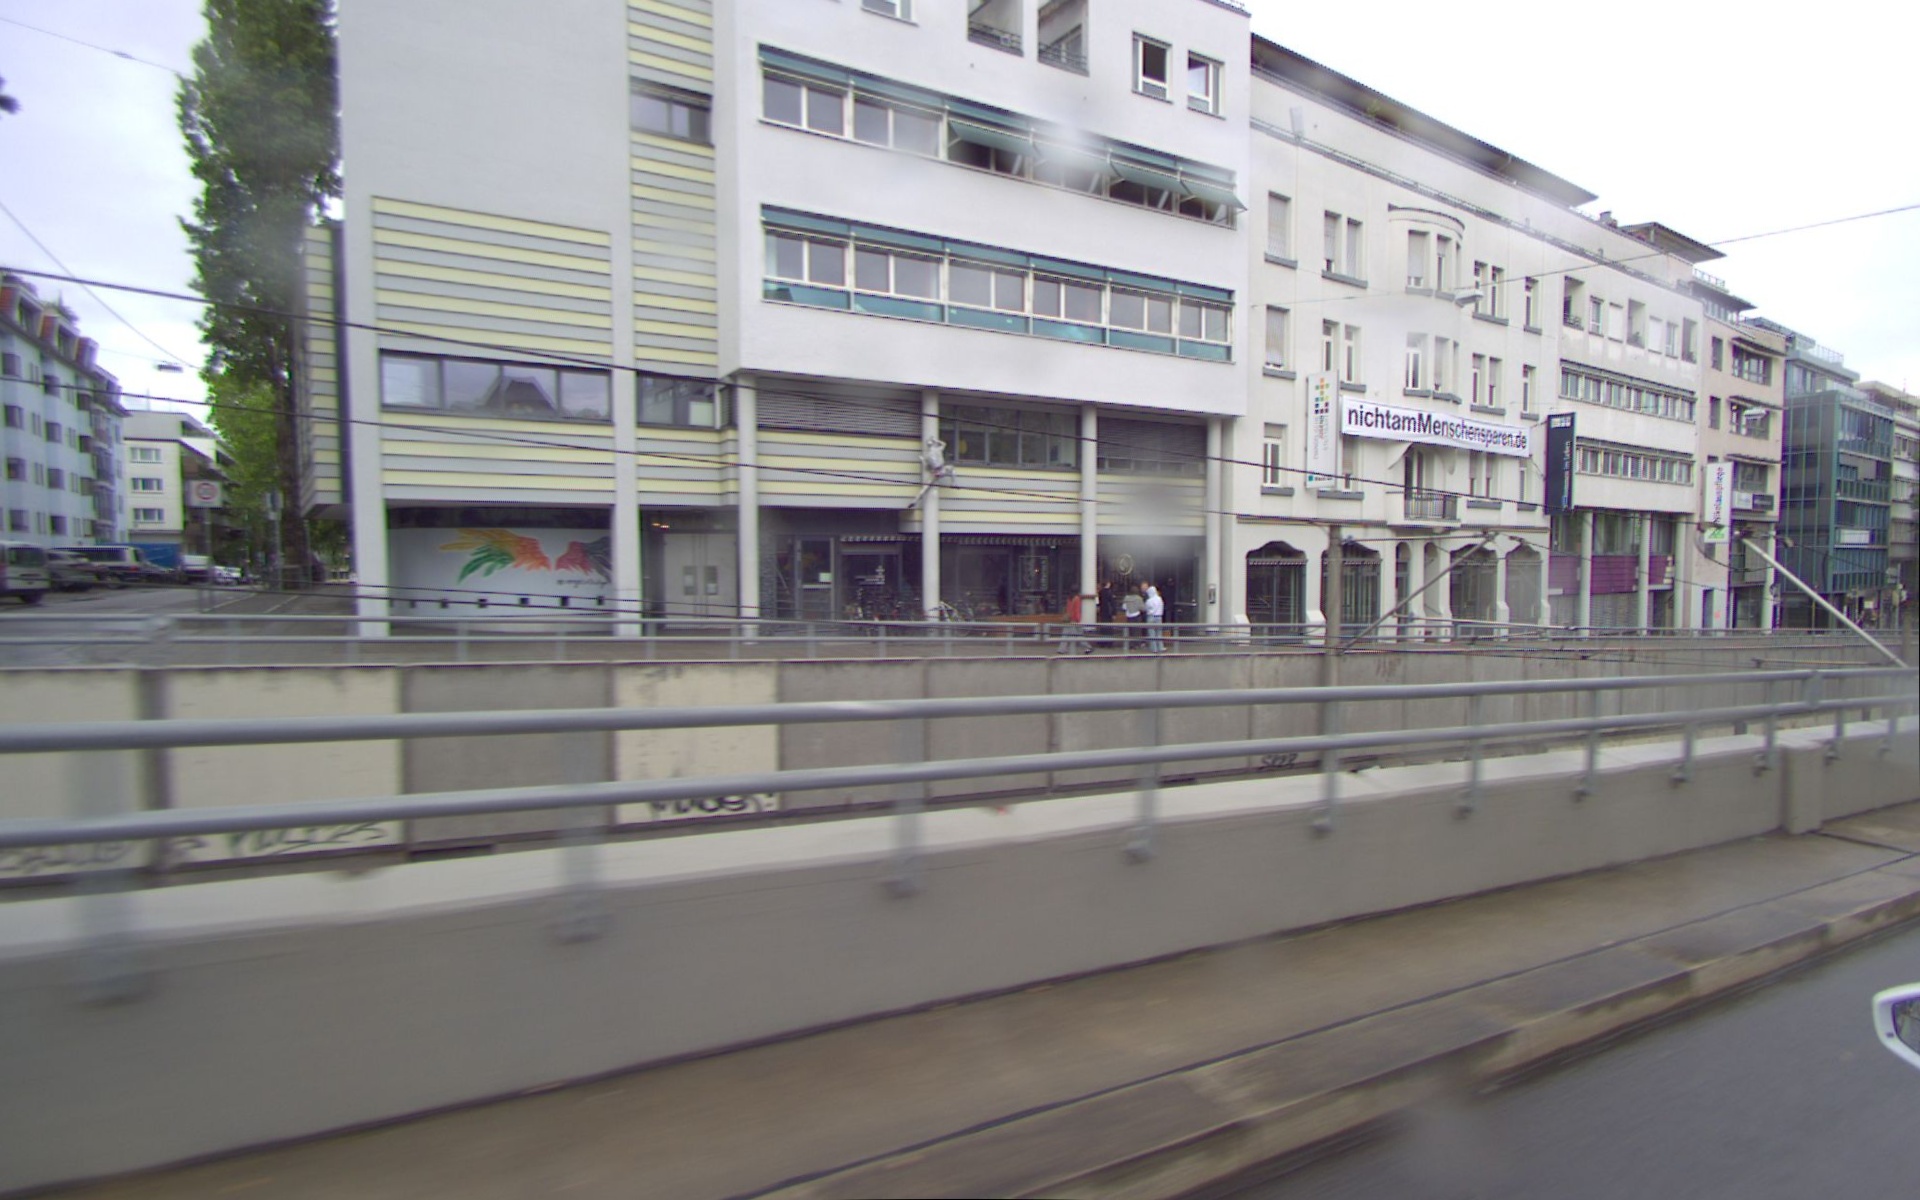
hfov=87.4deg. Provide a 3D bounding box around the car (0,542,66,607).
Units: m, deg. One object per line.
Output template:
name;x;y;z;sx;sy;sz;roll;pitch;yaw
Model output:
car;-28.739;-0.809;29.085;3.924;1.811;1.829;2;1;-4

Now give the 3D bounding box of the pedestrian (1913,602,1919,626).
pedestrian;77.812;1.134;81.246;0.859;1.893;0.870;0;3;-37

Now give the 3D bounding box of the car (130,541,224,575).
car;-45.381;-2.409;58.315;3.896;1.811;1.822;1;2;-20

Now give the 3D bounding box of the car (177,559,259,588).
car;-49.100;-1.745;66.557;3.939;1.811;1.822;1;2;-20

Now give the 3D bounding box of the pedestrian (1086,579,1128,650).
pedestrian;3.870;0.365;26.357;0.663;1.809;0.937;2;2;40

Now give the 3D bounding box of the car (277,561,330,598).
car;-31.697;-0.990;48.598;1.650;1.706;4.041;0;2;-27

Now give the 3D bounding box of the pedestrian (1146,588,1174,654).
pedestrian;5.186;0.525;26.060;0.660;1.665;0.796;1;2;12

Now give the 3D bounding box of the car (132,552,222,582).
car;-47.651;-2.004;61.245;3.939;1.750;1.763;1;2;-20

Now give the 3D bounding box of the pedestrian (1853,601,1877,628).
pedestrian;66.132;1.043;73.399;0.944;1.893;0.864;1;2;-16

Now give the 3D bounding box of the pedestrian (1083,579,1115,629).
pedestrian;4.027;0.114;29.187;0.665;1.438;0.604;0;2;-30

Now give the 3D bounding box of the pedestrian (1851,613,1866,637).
pedestrian;62.183;1.728;69.529;0.483;1.694;0.660;1;1;-35

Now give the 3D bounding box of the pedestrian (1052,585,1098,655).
pedestrian;2.777;0.474;24.215;0.663;1.638;0.937;2;2;40

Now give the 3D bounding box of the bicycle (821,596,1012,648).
bicycle;-1.046;0.540;25.038;4.469;1.058;1.684;1;5;-31

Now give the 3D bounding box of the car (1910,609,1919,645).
car;48.946;1.360;49.713;4.528;1.736;1.825;0;1;-33

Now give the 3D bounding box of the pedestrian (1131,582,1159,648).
pedestrian;4.999;0.403;27.184;0.660;1.745;0.609;2;2;16

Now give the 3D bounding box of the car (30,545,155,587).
car;-39.906;-1.558;46.310;3.939;1.811;1.822;1;2;-20
